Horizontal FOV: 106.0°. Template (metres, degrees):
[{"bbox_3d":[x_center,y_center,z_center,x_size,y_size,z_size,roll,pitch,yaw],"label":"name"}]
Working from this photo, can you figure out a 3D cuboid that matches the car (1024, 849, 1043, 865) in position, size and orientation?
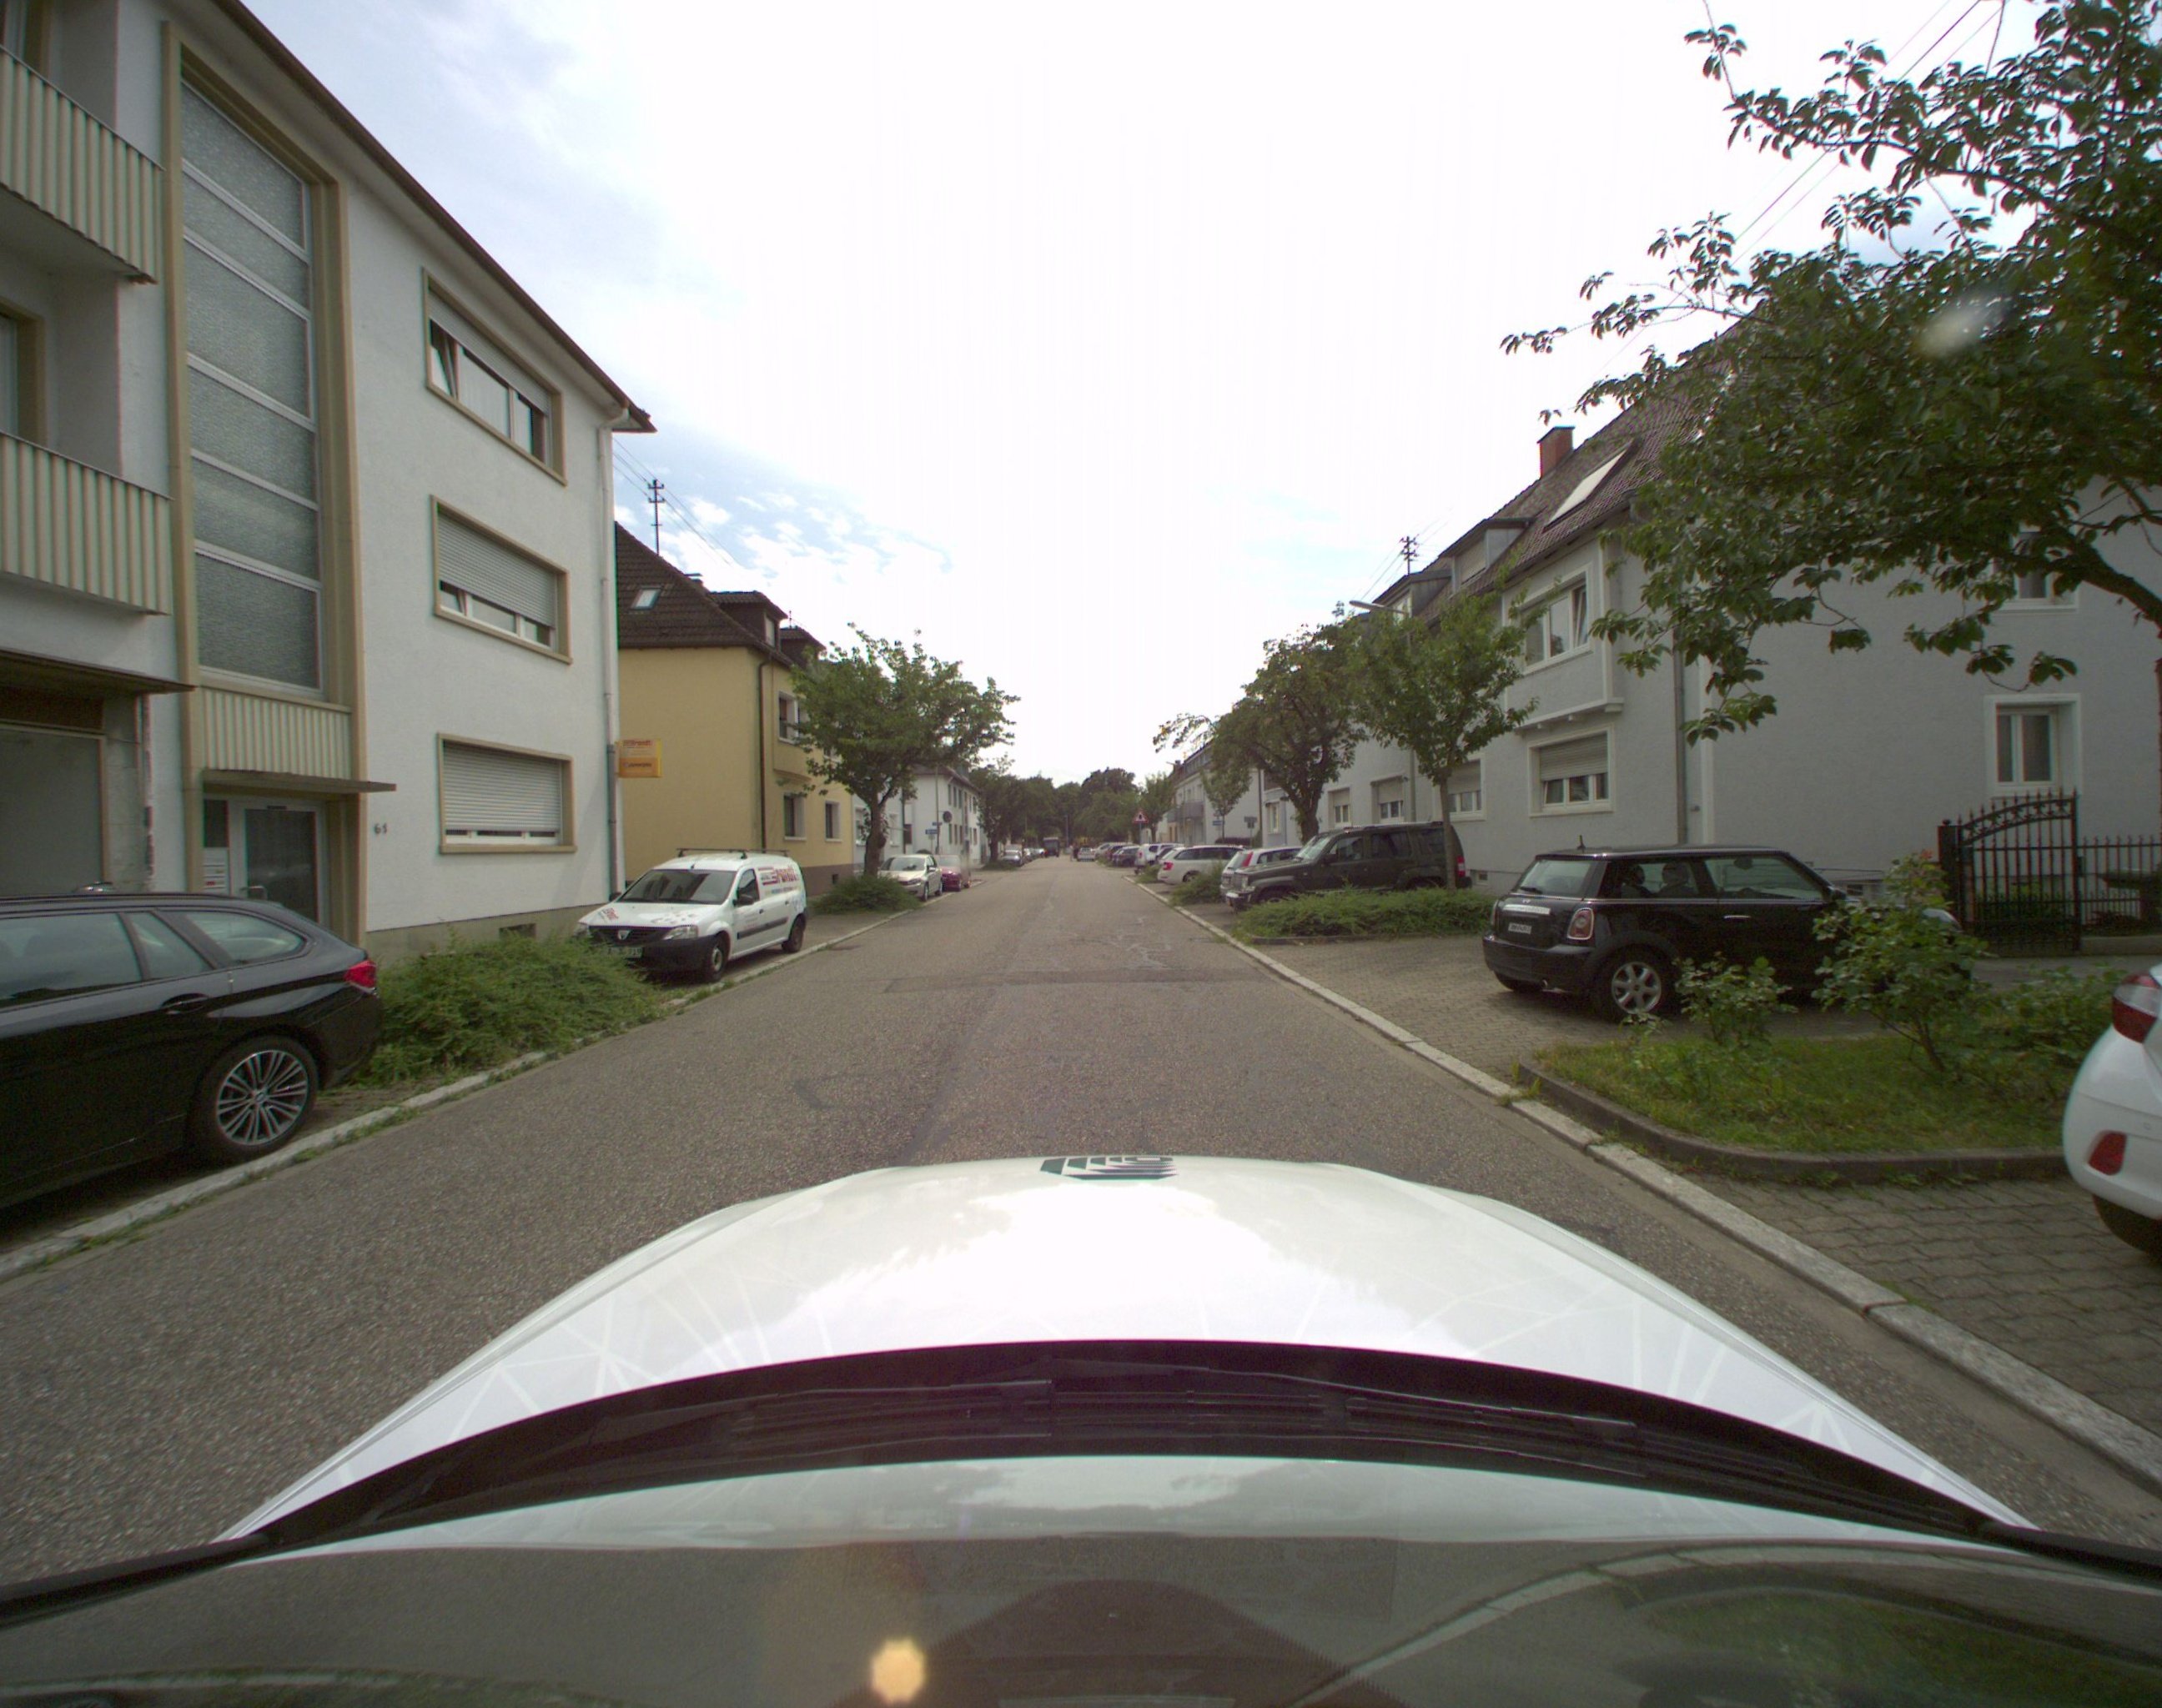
[{"bbox_3d":[-4.808,0.312,82.810,1.647,1.461,3.550,-4,0,-1],"label":"car"}]

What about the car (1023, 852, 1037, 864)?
[{"bbox_3d":[-6.139,0.451,98.898,1.535,1.301,3.717,-4,0,-3],"label":"car"}]

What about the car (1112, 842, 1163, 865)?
[{"bbox_3d":[4.088,-0.029,58.891,3.507,1.412,1.558,-4,0,-1],"label":"car"}]

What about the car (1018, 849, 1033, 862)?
[{"bbox_3d":[-6.390,0.157,93.832,1.648,1.377,3.717,-4,0,-3],"label":"car"}]

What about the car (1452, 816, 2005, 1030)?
[{"bbox_3d":[5.556,0.532,7.346,3.533,1.453,1.808,-4,0,-2],"label":"car"}]

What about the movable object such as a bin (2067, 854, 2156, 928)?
[{"bbox_3d":[13.243,0.465,10.474,0.511,0.899,0.480,-3,0,-1],"label":"movable object such as a bin"}]

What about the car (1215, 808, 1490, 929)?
[{"bbox_3d":[4.943,0.257,15.322,4.509,1.858,1.793,-4,0,1],"label":"car"}]

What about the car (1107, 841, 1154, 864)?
[{"bbox_3d":[4.020,-0.113,66.569,3.736,1.564,1.773,-4,0,0],"label":"car"}]

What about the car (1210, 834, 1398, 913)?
[{"bbox_3d":[4.906,0.406,18.224,3.619,1.454,1.770,-4,0,-5],"label":"car"}]

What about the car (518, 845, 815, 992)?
[{"bbox_3d":[-5.523,0.733,11.642,1.912,1.581,4.381,-4,0,0],"label":"car"}]

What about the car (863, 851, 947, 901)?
[{"bbox_3d":[-5.696,0.663,26.878,1.766,1.392,4.274,4,0,0],"label":"car"}]

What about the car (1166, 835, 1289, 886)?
[{"bbox_3d":[5.168,0.220,29.075,3.975,1.508,1.712,-4,0,-1],"label":"car"}]

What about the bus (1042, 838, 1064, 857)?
[{"bbox_3d":[-4.310,-0.990,127.982,2.995,2.761,8.922,-4,0,0],"label":"bus"}]

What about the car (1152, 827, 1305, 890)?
[{"bbox_3d":[4.729,0.135,26.647,4.600,1.663,1.892,-4,0,0],"label":"car"}]

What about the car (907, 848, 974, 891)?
[{"bbox_3d":[-5.561,0.579,32.732,1.871,1.486,4.511,-4,0,-1],"label":"car"}]

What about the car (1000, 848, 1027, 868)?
[{"bbox_3d":[-5.825,0.312,70.658,1.756,1.554,3.733,-4,0,3],"label":"car"}]

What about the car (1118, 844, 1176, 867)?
[{"bbox_3d":[4.520,0.095,56.137,3.736,1.365,1.773,-4,0,0],"label":"car"}]

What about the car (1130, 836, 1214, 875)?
[{"bbox_3d":[4.469,0.045,40.455,3.911,1.633,1.868,-4,0,0],"label":"car"}]

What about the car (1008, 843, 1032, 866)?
[{"bbox_3d":[-5.740,0.043,77.047,1.988,2.013,4.518,-2,0,-1],"label":"car"}]

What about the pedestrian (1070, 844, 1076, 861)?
[{"bbox_3d":[-0.859,-0.168,87.353,0.520,1.704,0.445,-4,0,3],"label":"pedestrian"}]

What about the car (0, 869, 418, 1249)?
[{"bbox_3d":[-5.247,0.860,2.925,1.785,1.492,4.811,-1,0,0],"label":"car"}]

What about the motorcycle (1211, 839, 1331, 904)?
[{"bbox_3d":[4.668,0.410,20.128,2.696,1.464,1.030,-2,0,-5],"label":"motorcycle"}]

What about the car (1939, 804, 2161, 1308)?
[{"bbox_3d":[5.276,0.504,2.303,3.979,1.530,1.766,-4,0,-4],"label":"car"}]

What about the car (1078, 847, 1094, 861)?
[{"bbox_3d":[0.536,-0.028,88.047,1.681,1.354,3.826,-4,0,0],"label":"car"}]

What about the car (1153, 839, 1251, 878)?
[{"bbox_3d":[5.278,0.195,35.745,3.975,1.421,1.712,-4,0,-1],"label":"car"}]

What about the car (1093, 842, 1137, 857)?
[{"bbox_3d":[3.994,-0.517,96.488,4.963,1.518,1.767,-4,0,-3],"label":"car"}]
